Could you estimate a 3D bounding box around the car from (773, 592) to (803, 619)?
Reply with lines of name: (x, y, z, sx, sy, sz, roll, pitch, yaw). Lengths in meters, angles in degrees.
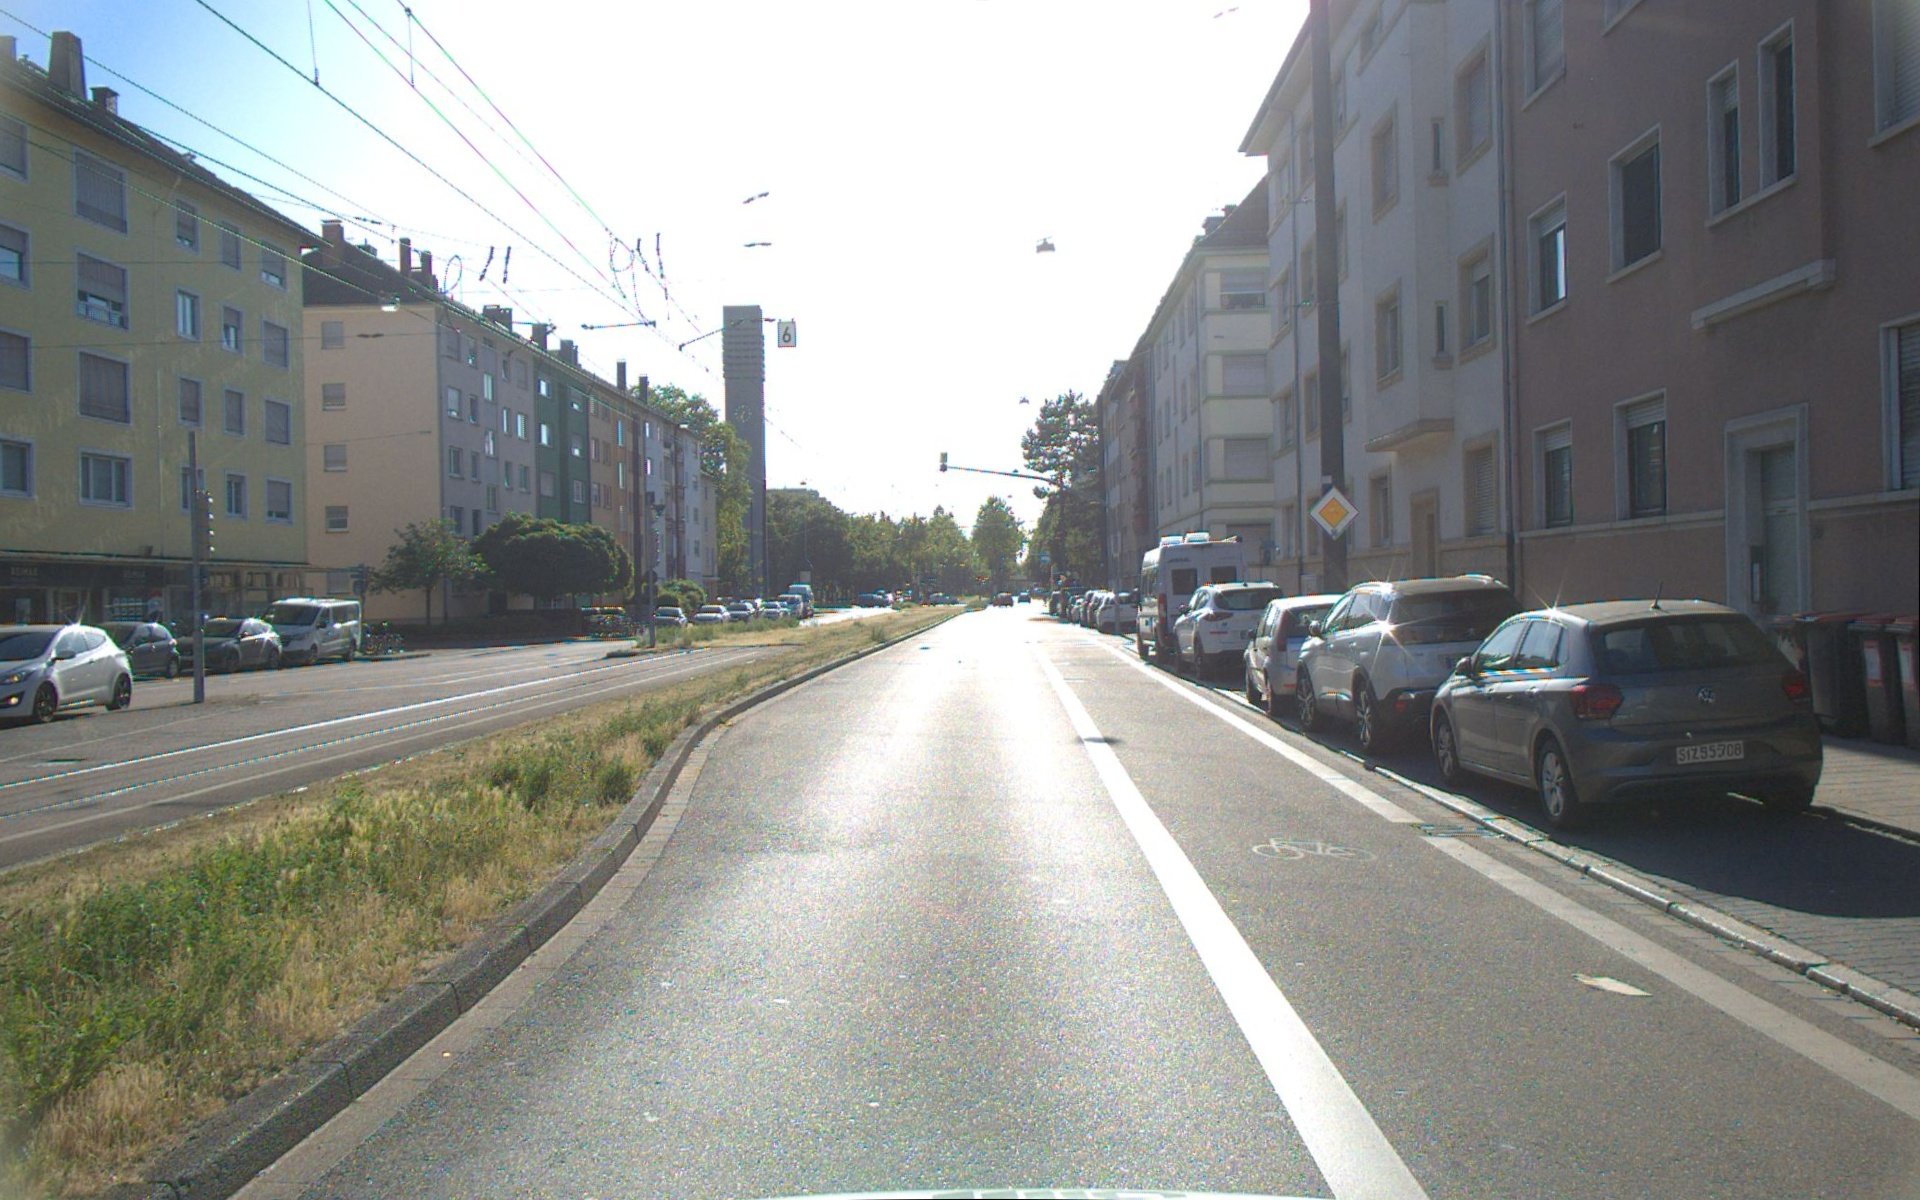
car: (-14.422, 0.484, 138.936, 1.953, 1.999, 4.750, -2, -2, 0)

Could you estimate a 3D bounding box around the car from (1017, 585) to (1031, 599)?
car: (8.851, -1.146, 230.398, 1.805, 1.716, 4.000, -2, -2, 1)

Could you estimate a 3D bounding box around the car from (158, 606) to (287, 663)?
car: (-21.162, 1.027, 47.627, 1.727, 1.514, 3.918, -2, -2, 4)

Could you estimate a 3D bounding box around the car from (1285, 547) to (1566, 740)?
car: (4.700, 0.395, 17.327, 1.628, 1.672, 4.183, -4, 0, -1)

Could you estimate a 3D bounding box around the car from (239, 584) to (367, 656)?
car: (-21.192, 0.627, 53.639, 1.962, 2.142, 5.305, -2, 0, 0)

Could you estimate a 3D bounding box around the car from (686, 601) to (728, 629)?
car: (-15.621, 0.942, 102.199, 1.953, 1.609, 3.999, -2, -2, 0)

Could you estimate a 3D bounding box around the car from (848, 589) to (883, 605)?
car: (-11.779, -0.336, 205.993, 4.218, 1.814, 1.998, -2, -2, -4)

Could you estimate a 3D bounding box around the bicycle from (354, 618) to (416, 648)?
bicycle: (-20.854, 1.199, 60.034, 2.037, 1.040, 0.801, -1, -2, -12)

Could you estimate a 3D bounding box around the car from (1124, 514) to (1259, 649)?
car: (5.138, -0.393, 37.503, 2.114, 2.697, 5.643, -4, 0, 0)

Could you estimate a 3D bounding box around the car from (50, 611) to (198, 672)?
car: (-21.470, 1.033, 42.621, 1.663, 1.451, 3.769, -2, -1, 4)

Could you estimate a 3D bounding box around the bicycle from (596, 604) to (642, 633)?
bicycle: (-16.633, 0.918, 80.729, 2.086, 1.348, 0.896, -2, -2, -5)

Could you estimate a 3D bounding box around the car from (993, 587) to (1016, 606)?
car: (4.883, -0.355, 181.912, 1.955, 1.814, 3.995, -1, -2, -5)

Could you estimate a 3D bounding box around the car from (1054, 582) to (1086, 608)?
car: (7.241, -0.290, 109.426, 1.858, 1.513, 3.739, -2, -2, 0)

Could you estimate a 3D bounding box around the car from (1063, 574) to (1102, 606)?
car: (6.717, -0.531, 90.938, 1.858, 1.513, 3.739, -2, -2, 0)

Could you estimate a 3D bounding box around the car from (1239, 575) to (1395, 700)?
car: (4.689, 0.454, 22.117, 1.471, 1.450, 3.455, -4, 0, 4)

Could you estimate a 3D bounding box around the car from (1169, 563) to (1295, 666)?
car: (4.886, 0.245, 30.142, 1.557, 1.663, 3.918, -4, 0, 0)

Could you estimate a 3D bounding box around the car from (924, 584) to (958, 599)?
car: (-2.401, -1.086, 208.926, 3.941, 1.713, 1.982, -1, -2, -28)

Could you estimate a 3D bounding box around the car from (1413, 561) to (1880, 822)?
car: (4.808, 0.559, 12.274, 1.737, 1.496, 4.094, -4, 0, 1)

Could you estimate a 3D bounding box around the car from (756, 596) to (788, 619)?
car: (-14.432, 0.615, 127.287, 1.953, 1.581, 3.999, -2, -2, 0)

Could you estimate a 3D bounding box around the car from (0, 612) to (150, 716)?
car: (-14.441, 0.975, 25.678, 1.787, 1.471, 4.282, -2, -1, -3)

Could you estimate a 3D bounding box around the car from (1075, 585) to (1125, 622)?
car: (6.314, 0.190, 74.715, 1.858, 1.513, 3.738, -2, -2, -1)

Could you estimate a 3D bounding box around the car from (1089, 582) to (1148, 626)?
car: (6.108, 0.180, 64.137, 1.858, 1.513, 3.738, -2, -2, -1)

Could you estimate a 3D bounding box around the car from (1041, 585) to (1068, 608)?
car: (7.122, -0.275, 124.726, 1.858, 1.513, 3.739, -2, -2, 0)

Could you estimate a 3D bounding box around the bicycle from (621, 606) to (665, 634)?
bicycle: (-15.940, 1.003, 83.086, 2.093, 1.348, 0.893, -1, -2, -16)

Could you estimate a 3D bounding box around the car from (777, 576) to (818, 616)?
car: (-14.463, -0.307, 147.784, 2.925, 3.295, 6.791, -2, -2, 0)

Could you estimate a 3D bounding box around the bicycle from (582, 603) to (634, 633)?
bicycle: (-16.760, 0.856, 78.855, 2.262, 1.328, 0.913, -2, -2, -2)

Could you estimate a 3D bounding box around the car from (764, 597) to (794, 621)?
car: (-14.431, 0.726, 132.277, 1.953, 1.747, 3.999, -2, -2, 0)

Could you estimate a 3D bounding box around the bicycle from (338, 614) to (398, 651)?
bicycle: (-20.783, 1.141, 58.063, 1.939, 1.227, 0.691, -1, -2, -26)

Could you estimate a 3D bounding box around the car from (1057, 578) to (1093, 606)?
car: (6.852, -0.465, 98.771, 1.858, 1.513, 3.739, -2, -2, 0)

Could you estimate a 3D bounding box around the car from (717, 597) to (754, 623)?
car: (-15.279, 0.701, 112.530, 1.953, 1.581, 3.999, -2, -2, 0)

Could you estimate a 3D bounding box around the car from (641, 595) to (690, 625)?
car: (-15.873, 0.568, 89.382, 1.953, 1.479, 3.999, -2, -2, -1)
